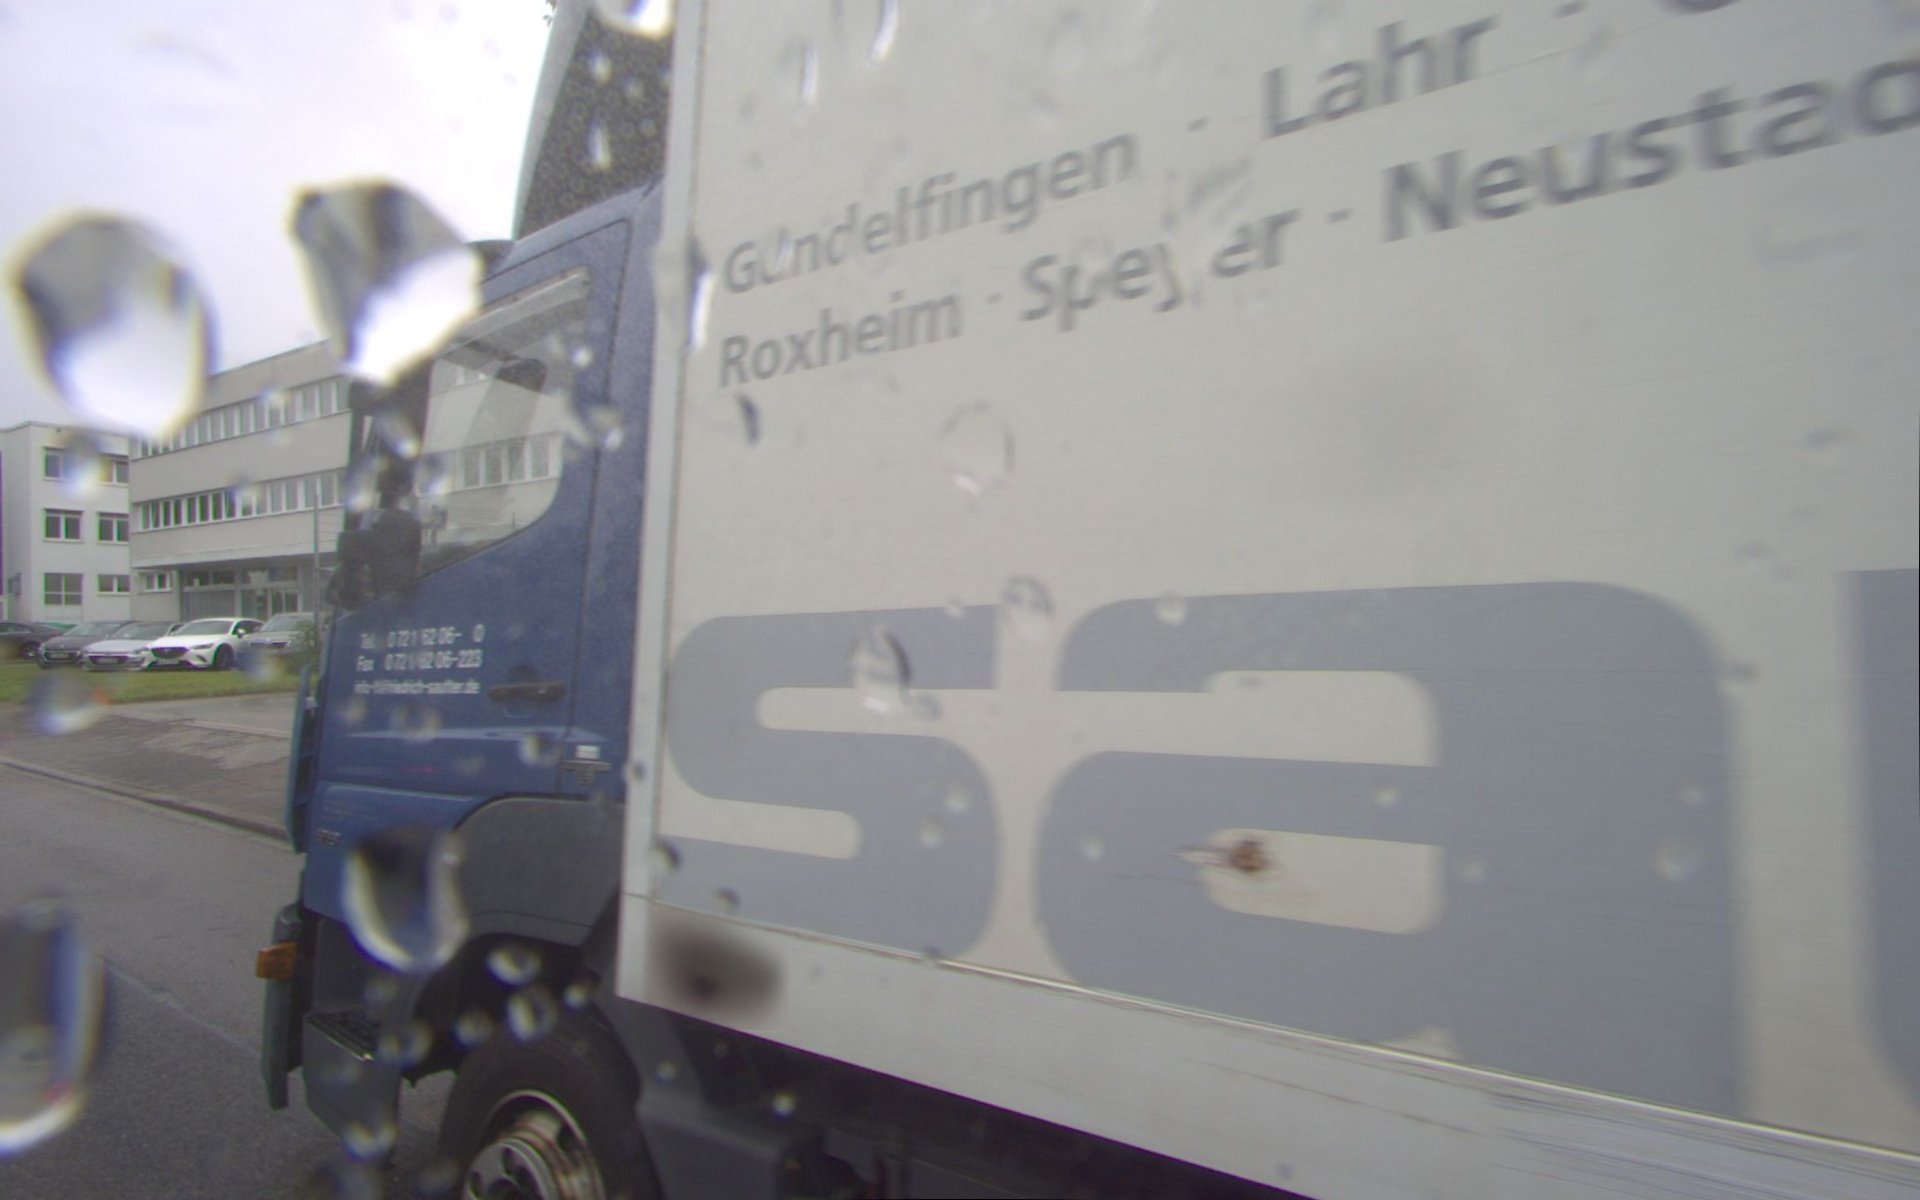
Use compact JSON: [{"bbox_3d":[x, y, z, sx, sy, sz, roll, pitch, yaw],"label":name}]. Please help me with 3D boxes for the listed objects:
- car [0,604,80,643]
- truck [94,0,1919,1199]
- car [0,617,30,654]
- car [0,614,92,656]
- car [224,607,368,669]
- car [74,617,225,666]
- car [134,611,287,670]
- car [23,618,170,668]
[{"bbox_3d":[-51.791,1.283,53.823,1.970,2.039,6.448,-1,-2,29],"label":"car"},{"bbox_3d":[1.918,-0.285,1.412,7.899,3.737,2.667,-1,-3,34],"label":"truck"},{"bbox_3d":[-40.693,1.372,40.772,3.714,1.414,1.724,3,-1,-16],"label":"car"},{"bbox_3d":[-35.389,1.283,37.032,4.595,1.487,1.787,0,-1,-18],"label":"car"},{"bbox_3d":[-17.841,0.981,27.124,1.838,1.547,3.997,0,-1,-11],"label":"car"},{"bbox_3d":[-23.228,1.155,28.899,1.674,1.303,3.997,0,-1,-10],"label":"car"},{"bbox_3d":[-20.369,1.059,27.428,1.742,1.489,3.997,0,-1,-10],"label":"car"},{"bbox_3d":[-25.895,1.238,30.202,1.674,1.411,3.765,0,-1,-10],"label":"car"}]
